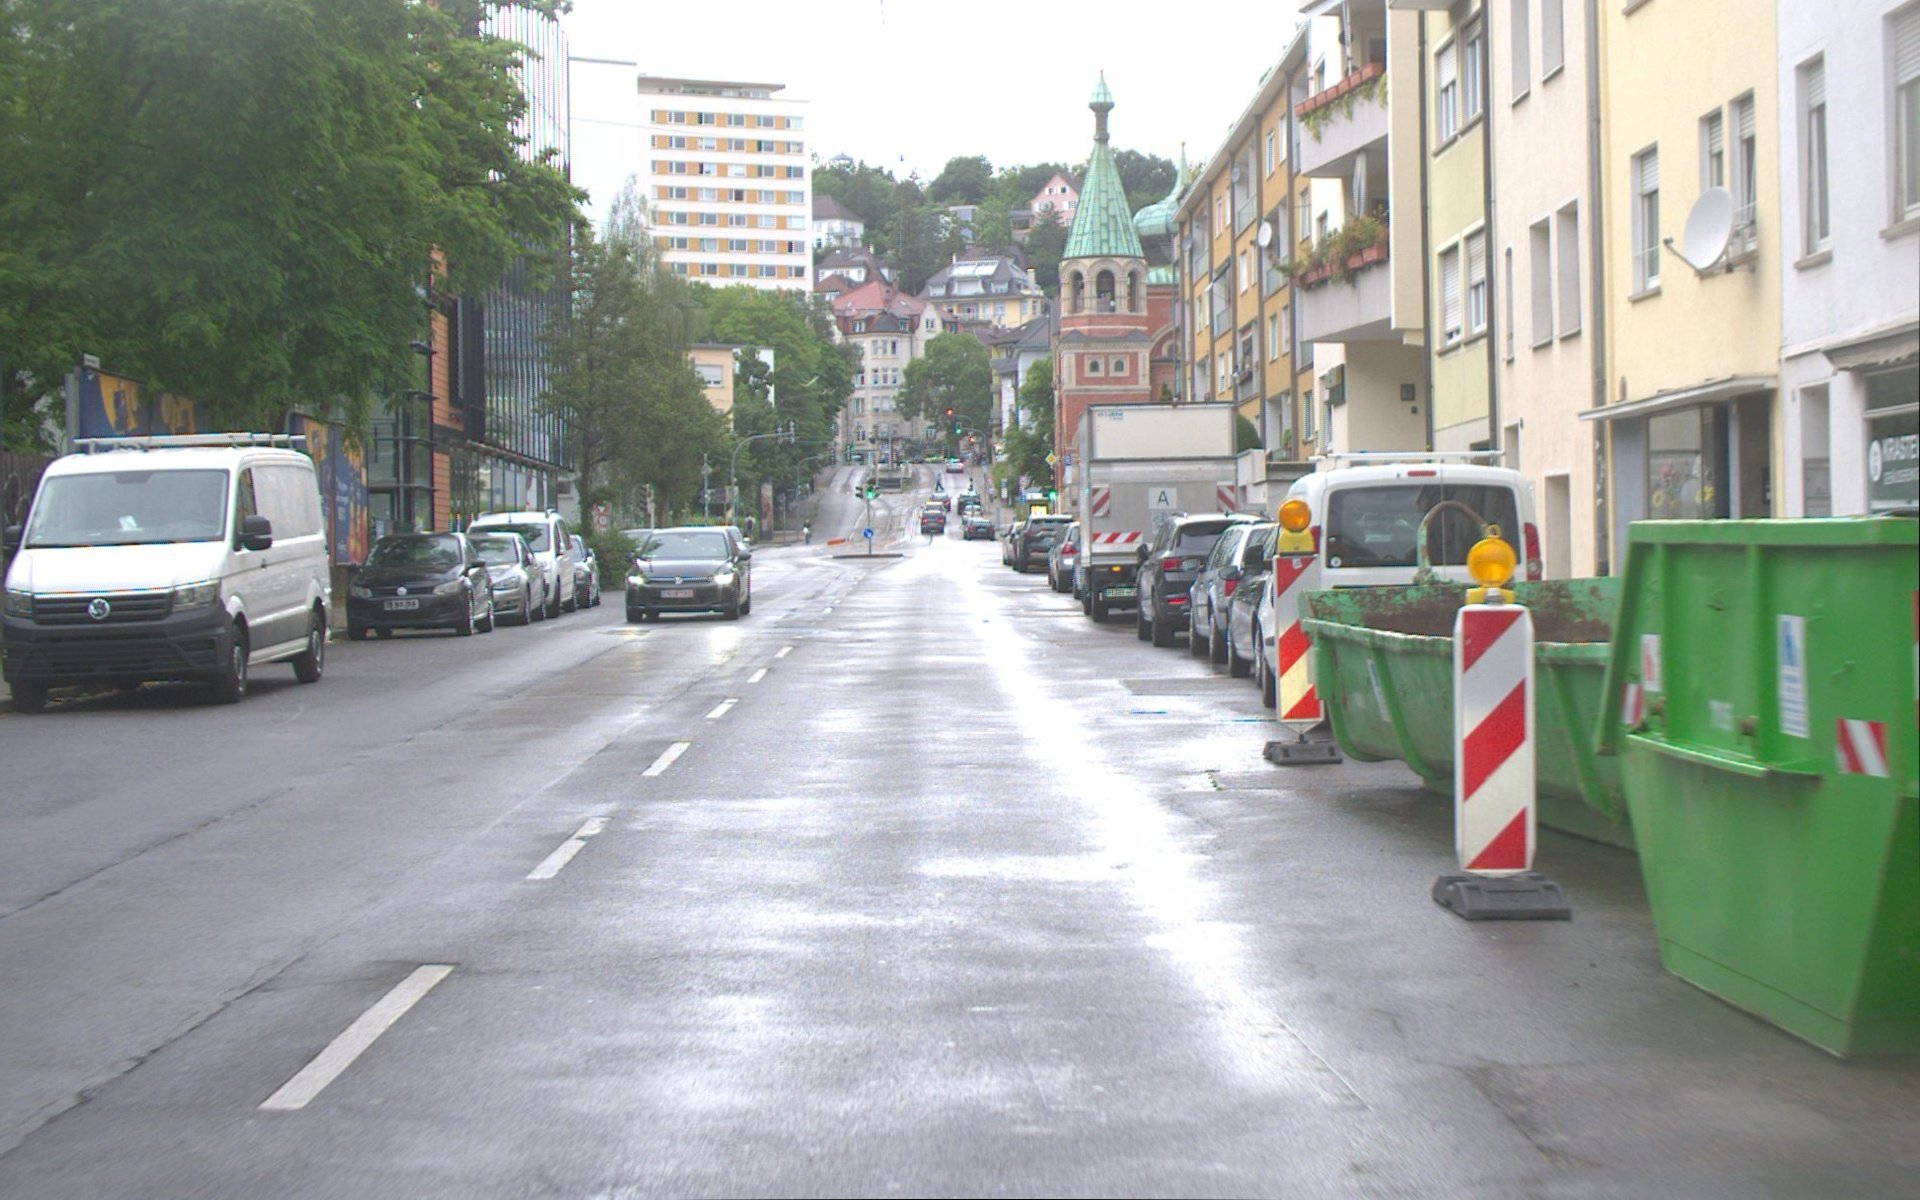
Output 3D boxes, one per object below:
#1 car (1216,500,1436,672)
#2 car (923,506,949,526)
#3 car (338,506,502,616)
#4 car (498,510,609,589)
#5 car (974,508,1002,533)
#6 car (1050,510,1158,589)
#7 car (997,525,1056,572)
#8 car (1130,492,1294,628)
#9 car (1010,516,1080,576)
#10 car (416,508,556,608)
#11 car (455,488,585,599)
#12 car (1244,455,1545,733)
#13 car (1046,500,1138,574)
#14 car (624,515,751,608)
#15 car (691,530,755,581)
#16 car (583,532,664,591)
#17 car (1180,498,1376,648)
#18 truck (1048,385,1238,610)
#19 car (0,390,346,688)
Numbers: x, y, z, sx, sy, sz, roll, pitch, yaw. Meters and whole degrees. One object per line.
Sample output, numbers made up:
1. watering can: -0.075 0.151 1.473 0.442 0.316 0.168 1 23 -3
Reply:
1. car: 3.278 -0.153 31.306 1.577 1.465 3.502 -1 1 -1
2. car: -1.823 -6.294 257.770 1.908 1.505 4.000 0 1 -1
3. car: -7.379 -0.525 47.284 1.682 1.394 3.911 -2 0 -1
4. car: -7.557 -0.924 64.254 1.723 1.371 4.344 -2 0 -3
5. car: 1.928 -5.402 232.759 1.732 1.648 4.000 -1 1 3
6. car: 2.738 -0.947 66.169 1.663 1.416 3.922 -1 0 -4
7. car: 2.205 -1.743 115.298 1.817 1.517 4.076 1 1 -1
8. car: 3.041 -0.503 42.166 1.663 1.568 4.098 -1 1 -1
9. car: 2.391 -1.534 97.908 1.817 1.647 4.076 1 1 -1
10. car: -7.417 -0.650 54.123 1.682 1.457 4.277 -2 0 -1
11. car: -7.526 -0.955 59.124 1.723 1.794 4.344 -2 0 -1
12. car: 3.189 -0.082 25.969 1.817 1.917 4.239 0 1 1
13. car: 2.759 -1.309 72.548 1.663 1.497 3.922 -1 1 -2
14. car: -4.338 -0.627 55.257 1.805 1.411 4.384 -1 1 -2
15. car: -7.152 -1.334 104.104 1.709 1.445 4.294 -1 0 -1
16. car: -8.616 -0.967 88.436 1.803 1.445 4.658 -1 0 -3
17. car: 3.341 -0.313 36.783 1.663 1.494 4.098 -1 1 -1
18. truck: 2.691 -1.488 52.289 2.469 3.161 7.036 -1 1 0
19. car: -7.338 -0.577 32.163 2.012 2.478 5.983 -2 1 0
